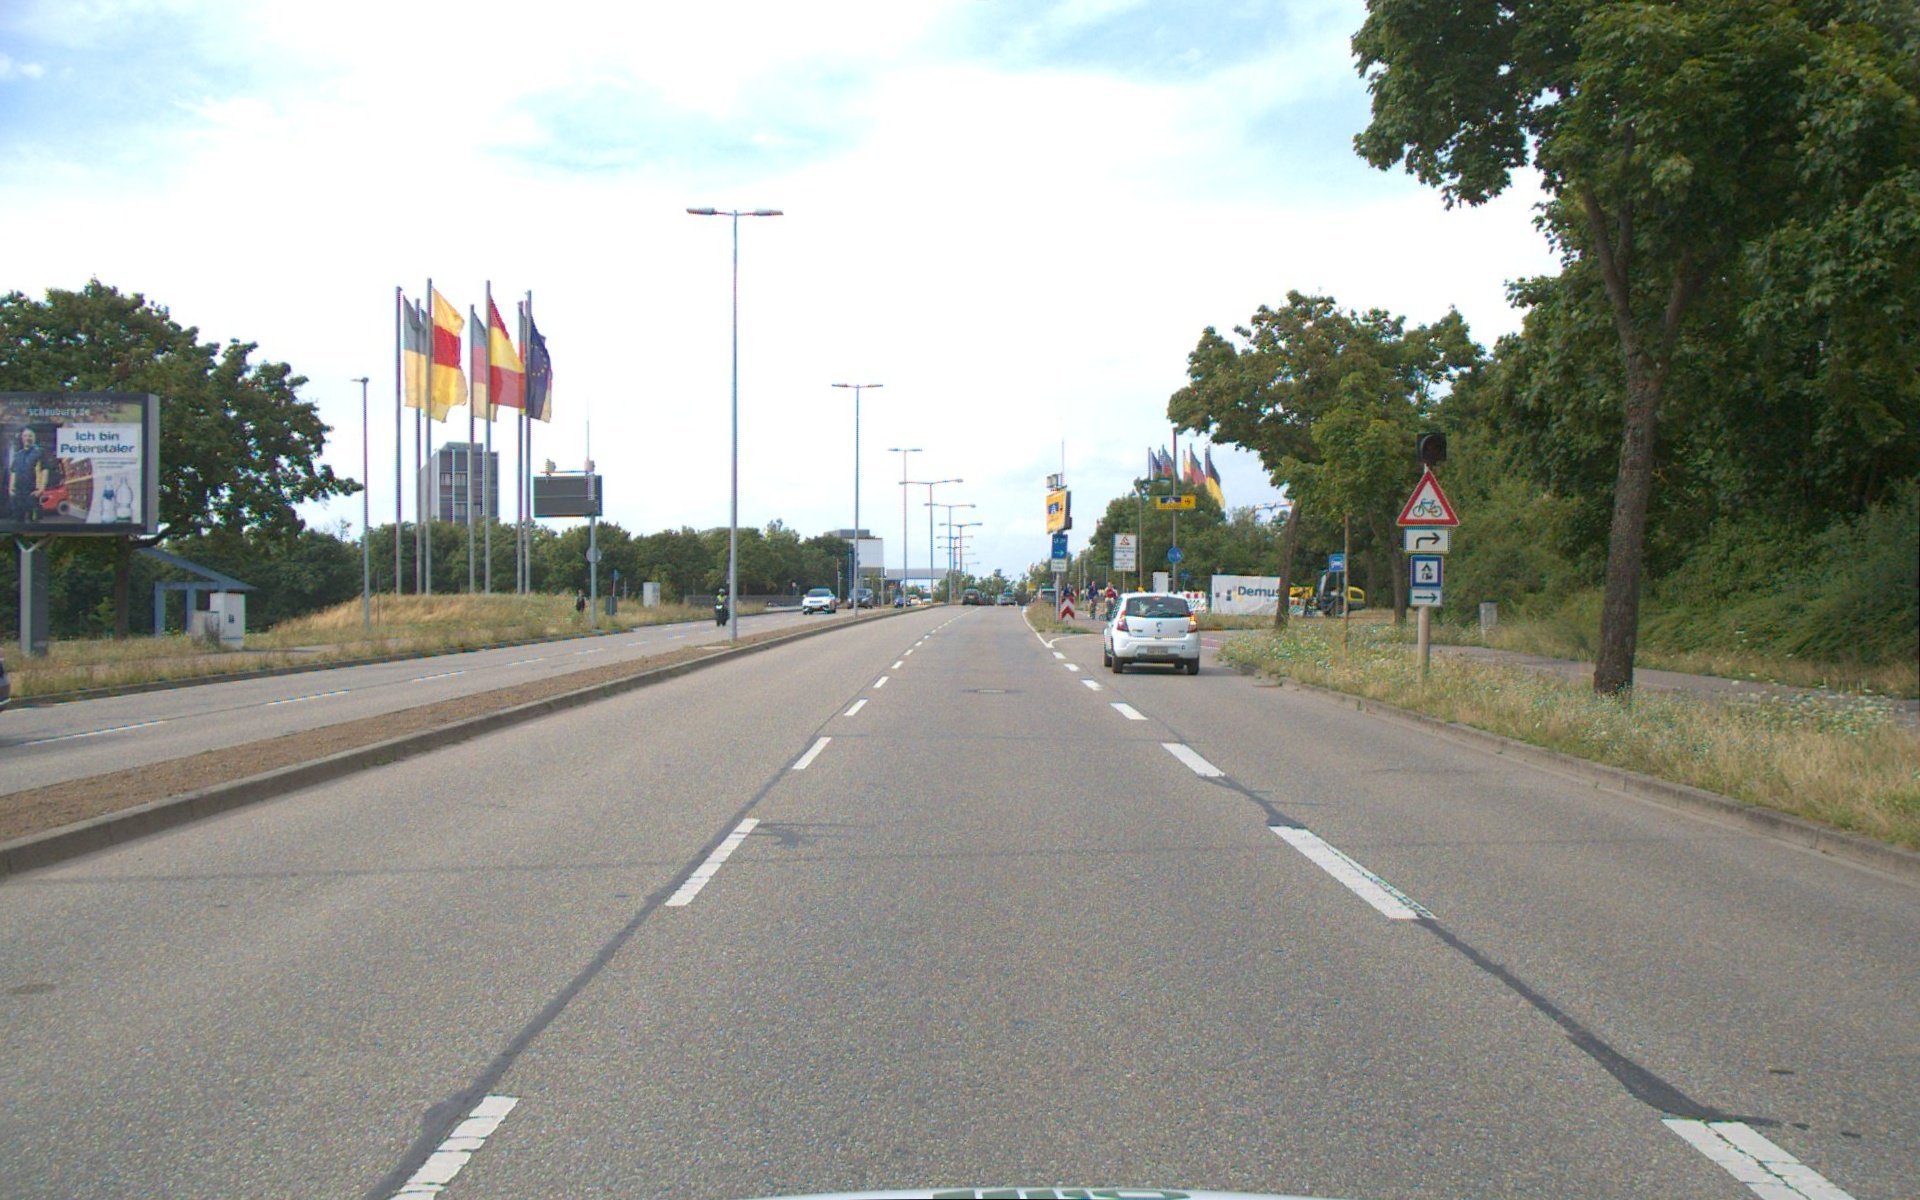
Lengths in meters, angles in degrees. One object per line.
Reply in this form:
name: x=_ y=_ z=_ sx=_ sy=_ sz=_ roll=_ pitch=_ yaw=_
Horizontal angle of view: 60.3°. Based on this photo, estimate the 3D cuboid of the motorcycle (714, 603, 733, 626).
motorcycle: x=-10.508 y=0.634 z=73.589 sx=0.512 sy=0.984 sz=2.220 roll=-1 pitch=0 yaw=0

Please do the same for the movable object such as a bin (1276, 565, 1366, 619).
movable object such as a bin: x=19.041 y=-0.421 z=87.465 sx=4.406 sy=2.736 sz=2.103 roll=1 pitch=-1 yaw=6

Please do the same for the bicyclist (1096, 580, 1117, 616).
bicyclist: x=6.306 y=-0.084 z=71.066 sx=0.726 sy=1.499 sz=0.804 roll=1 pitch=-1 yaw=-6

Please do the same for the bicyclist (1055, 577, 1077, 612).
bicyclist: x=4.735 y=-0.258 z=73.699 sx=0.728 sy=1.545 sz=0.955 roll=1 pitch=-1 yaw=-13

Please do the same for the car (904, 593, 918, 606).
car: x=-6.297 y=-0.071 z=212.186 sx=1.516 sy=1.605 sz=3.691 roll=-2 pitch=0 yaw=2

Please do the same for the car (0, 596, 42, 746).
car: x=-10.788 y=0.755 z=15.545 sx=1.732 sy=1.559 sz=4.740 roll=-1 pitch=0 yaw=-1

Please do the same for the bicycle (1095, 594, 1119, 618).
bicycle: x=6.306 y=0.262 z=70.970 sx=0.608 sy=1.023 sz=1.785 roll=-2 pitch=0 yaw=-7

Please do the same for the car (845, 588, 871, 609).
car: x=-9.597 y=-0.150 z=156.069 sx=1.809 sy=1.926 sz=5.507 roll=-3 pitch=0 yaw=3

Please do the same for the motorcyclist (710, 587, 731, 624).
motorcyclist: x=-10.633 y=0.232 z=73.548 sx=0.754 sy=1.616 sz=0.896 roll=-2 pitch=0 yaw=0

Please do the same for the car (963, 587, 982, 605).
car: x=1.256 y=-0.402 z=164.232 sx=1.694 sy=1.682 sz=4.116 roll=1 pitch=-1 yaw=2

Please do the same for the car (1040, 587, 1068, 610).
car: x=7.201 y=-0.101 z=127.223 sx=1.696 sy=1.682 sz=4.112 roll=1 pitch=-1 yaw=-3

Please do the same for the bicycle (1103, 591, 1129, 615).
bicycle: x=6.971 y=0.149 z=74.007 sx=0.609 sy=1.023 sz=1.782 roll=-2 pitch=0 yaw=-12

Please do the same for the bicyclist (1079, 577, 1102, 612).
bicyclist: x=5.819 y=-0.244 z=73.897 sx=0.728 sy=1.545 sz=0.955 roll=1 pitch=-1 yaw=-14

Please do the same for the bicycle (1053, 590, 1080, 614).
bicycle: x=4.746 y=0.085 z=73.682 sx=0.609 sy=1.023 sz=2.096 roll=3 pitch=0 yaw=-12

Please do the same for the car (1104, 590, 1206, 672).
car: x=3.818 y=0.587 z=32.903 sx=1.808 sy=1.528 sz=4.002 roll=0 pitch=0 yaw=3

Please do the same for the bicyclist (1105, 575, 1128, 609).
bicyclist: x=6.993 y=-0.352 z=73.976 sx=0.728 sy=1.513 sz=0.955 roll=1 pitch=-1 yaw=-13

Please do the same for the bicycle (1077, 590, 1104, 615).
bicycle: x=5.812 y=0.107 z=73.837 sx=0.585 sy=1.055 sz=2.188 roll=3 pitch=0 yaw=-12

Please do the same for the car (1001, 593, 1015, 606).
car: x=5.767 y=-0.047 z=199.310 sx=1.695 sy=1.553 sz=4.115 roll=1 pitch=0 yaw=1

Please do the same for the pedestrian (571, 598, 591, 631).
pedestrian: x=-20.141 y=0.767 z=87.965 sx=0.847 sy=1.722 sz=0.679 roll=-2 pitch=0 yaw=0

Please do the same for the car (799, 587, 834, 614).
car: x=-9.448 y=0.005 z=109.186 sx=1.809 sy=1.629 sz=4.562 roll=-1 pitch=1 yaw=1

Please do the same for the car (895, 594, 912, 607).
car: x=-6.453 y=0.059 z=188.936 sx=1.727 sy=1.466 sz=4.178 roll=-2 pitch=0 yaw=2
